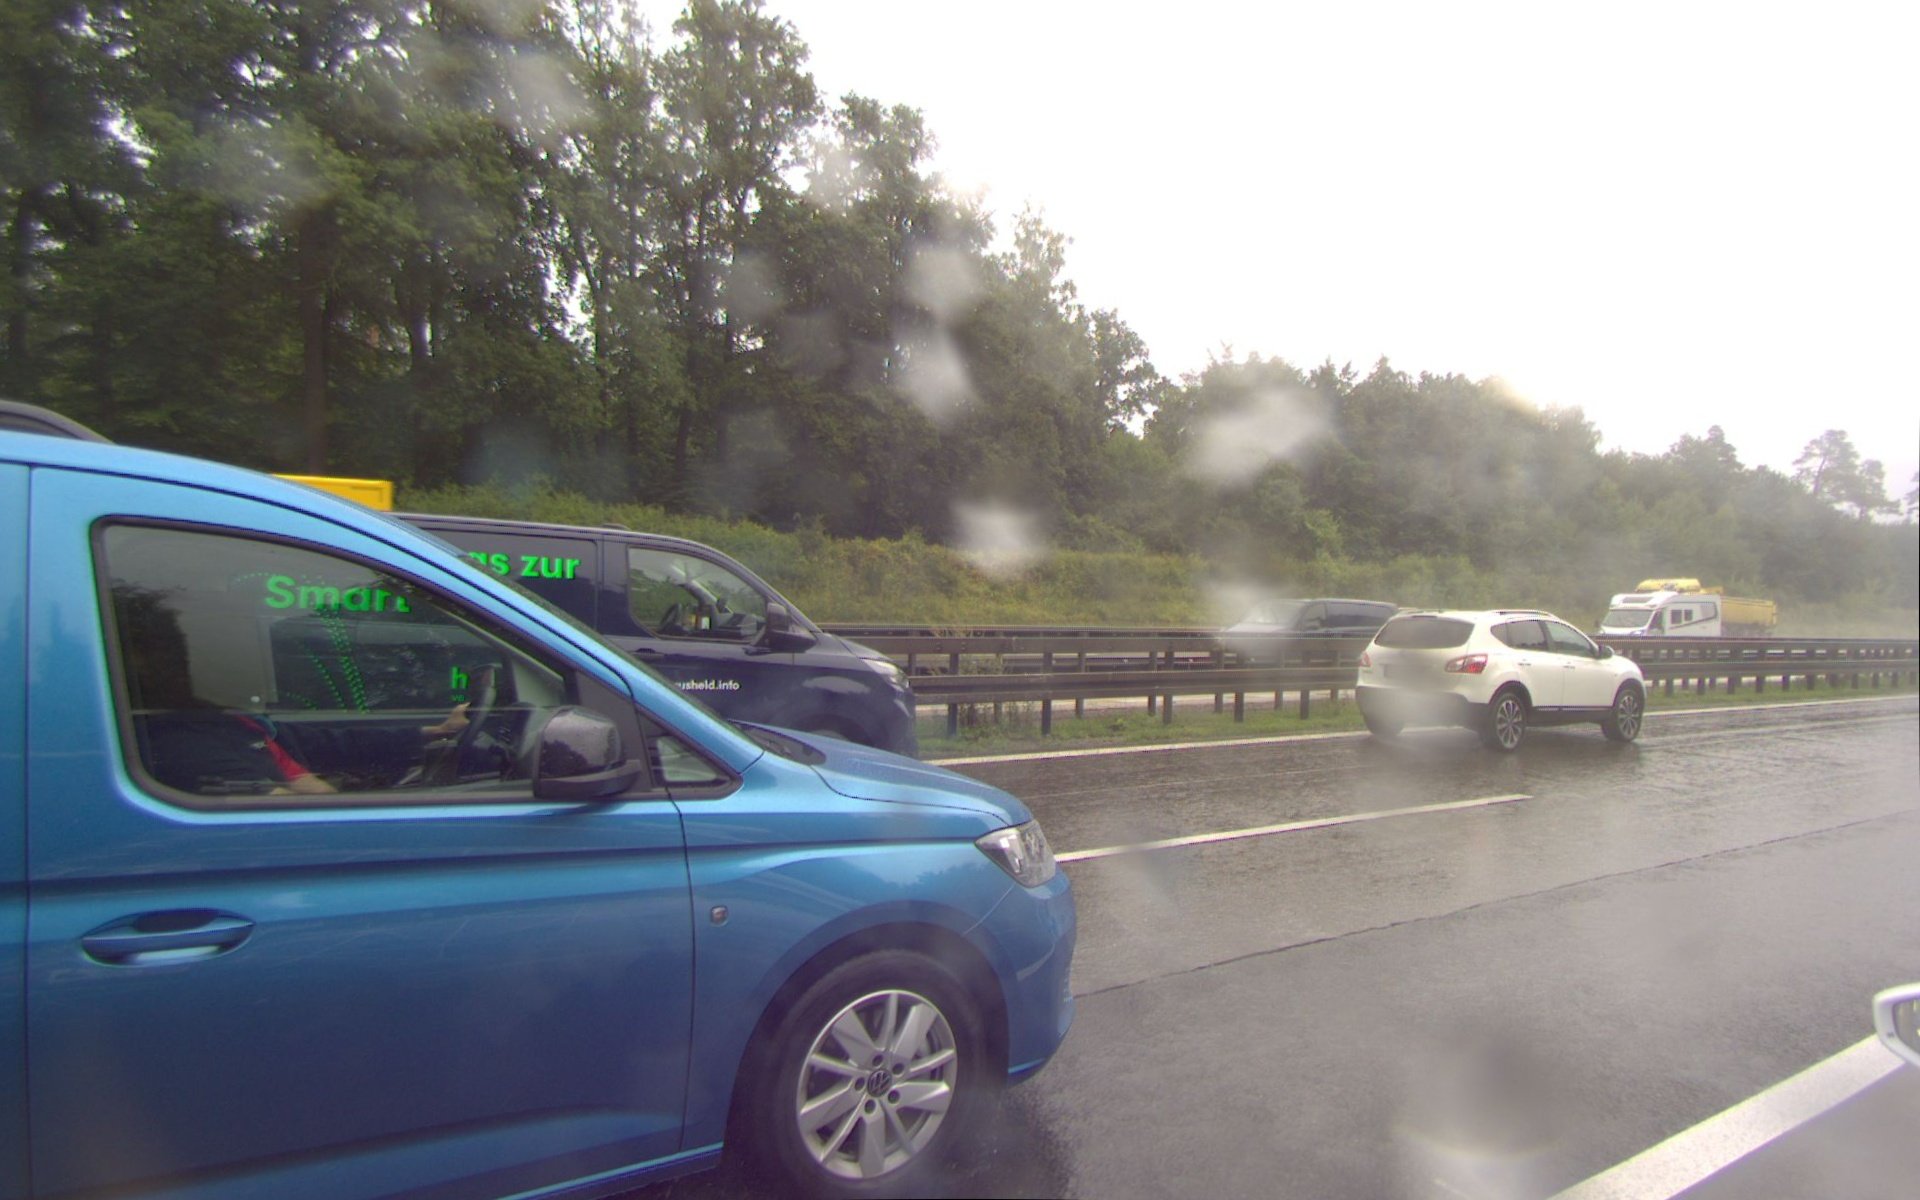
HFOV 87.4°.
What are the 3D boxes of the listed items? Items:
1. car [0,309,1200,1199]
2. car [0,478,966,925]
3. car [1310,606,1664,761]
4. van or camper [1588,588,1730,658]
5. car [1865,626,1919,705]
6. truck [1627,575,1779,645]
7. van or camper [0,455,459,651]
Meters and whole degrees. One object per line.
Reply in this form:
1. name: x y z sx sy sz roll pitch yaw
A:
1. car: -2.036 0.513 2.534 4.956 1.937 2.259 1 0 -30
2. car: -2.693 0.495 6.490 5.182 1.970 1.981 1 0 -31
3. car: 6.608 0.915 12.497 4.413 1.613 1.837 1 0 -30
4. van or camper: 31.088 1.035 44.562 7.912 2.908 2.155 1 0 -32
5. car: 21.900 1.416 21.980 4.413 1.613 1.837 1 0 -30
6. truck: 41.020 0.626 55.281 11.586 3.530 2.506 1 0 -31
7. van or camper: -13.781 -0.695 17.690 8.684 3.018 2.828 1 0 -31
